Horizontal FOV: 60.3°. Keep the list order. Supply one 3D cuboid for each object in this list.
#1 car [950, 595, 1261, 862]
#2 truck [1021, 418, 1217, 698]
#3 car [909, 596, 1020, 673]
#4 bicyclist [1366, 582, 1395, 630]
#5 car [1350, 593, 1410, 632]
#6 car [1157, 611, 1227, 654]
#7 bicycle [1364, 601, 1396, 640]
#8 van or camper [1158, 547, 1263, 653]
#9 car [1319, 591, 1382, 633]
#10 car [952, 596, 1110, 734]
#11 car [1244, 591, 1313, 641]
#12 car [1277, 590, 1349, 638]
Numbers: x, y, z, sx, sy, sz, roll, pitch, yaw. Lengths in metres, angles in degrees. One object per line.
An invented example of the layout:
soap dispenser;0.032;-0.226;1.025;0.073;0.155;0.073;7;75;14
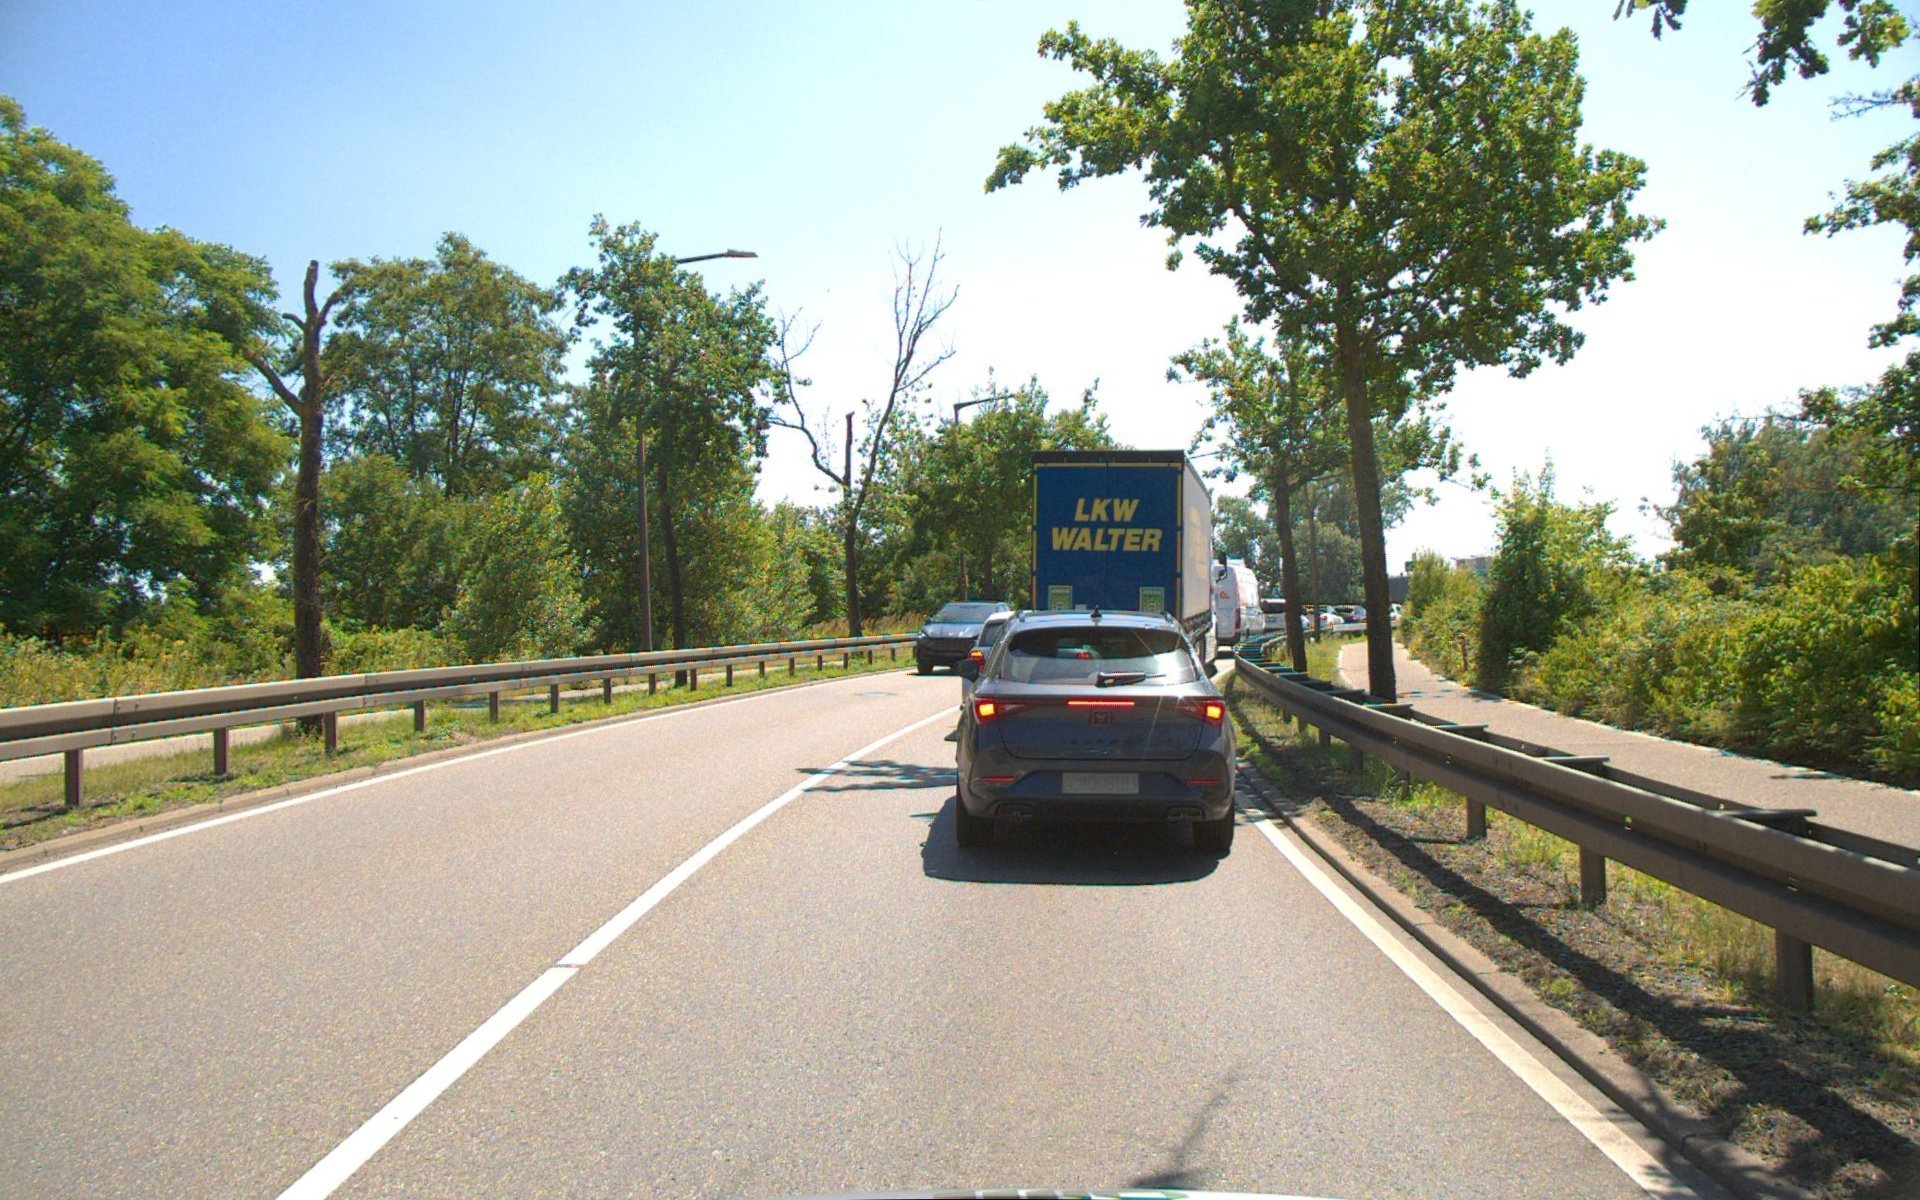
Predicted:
car;0.858;0.718;11.071;1.708;1.457;3.881;0;0;2
truck;3.863;-0.633;35.234;2.887;4.527;16.812;0;0;10
car;0.172;0.733;37.902;1.829;1.631;4.397;1;0;10
bicyclist;13.950;0.204;54.855;0.843;1.550;0.980;0;-1;21
car;20.075;0.585;78.941;1.954;1.799;4.752;0;0;24
car;9.443;1.288;67.141;1.831;1.631;4.393;1;0;21
bicycle;13.945;0.680;54.889;0.842;1.258;2.310;0;0;19
van or camper;7.749;0.010;50.570;2.414;3.051;6.090;0;0;16
car;17.243;0.527;72.884;1.953;1.747;4.867;0;0;23
car;0.955;0.741;20.673;1.771;1.534;4.002;0;0;4
car;11.593;0.579;59.943;1.951;1.742;4.622;0;0;17
car;14.175;0.539;66.208;1.953;1.840;4.844;0;0;23
